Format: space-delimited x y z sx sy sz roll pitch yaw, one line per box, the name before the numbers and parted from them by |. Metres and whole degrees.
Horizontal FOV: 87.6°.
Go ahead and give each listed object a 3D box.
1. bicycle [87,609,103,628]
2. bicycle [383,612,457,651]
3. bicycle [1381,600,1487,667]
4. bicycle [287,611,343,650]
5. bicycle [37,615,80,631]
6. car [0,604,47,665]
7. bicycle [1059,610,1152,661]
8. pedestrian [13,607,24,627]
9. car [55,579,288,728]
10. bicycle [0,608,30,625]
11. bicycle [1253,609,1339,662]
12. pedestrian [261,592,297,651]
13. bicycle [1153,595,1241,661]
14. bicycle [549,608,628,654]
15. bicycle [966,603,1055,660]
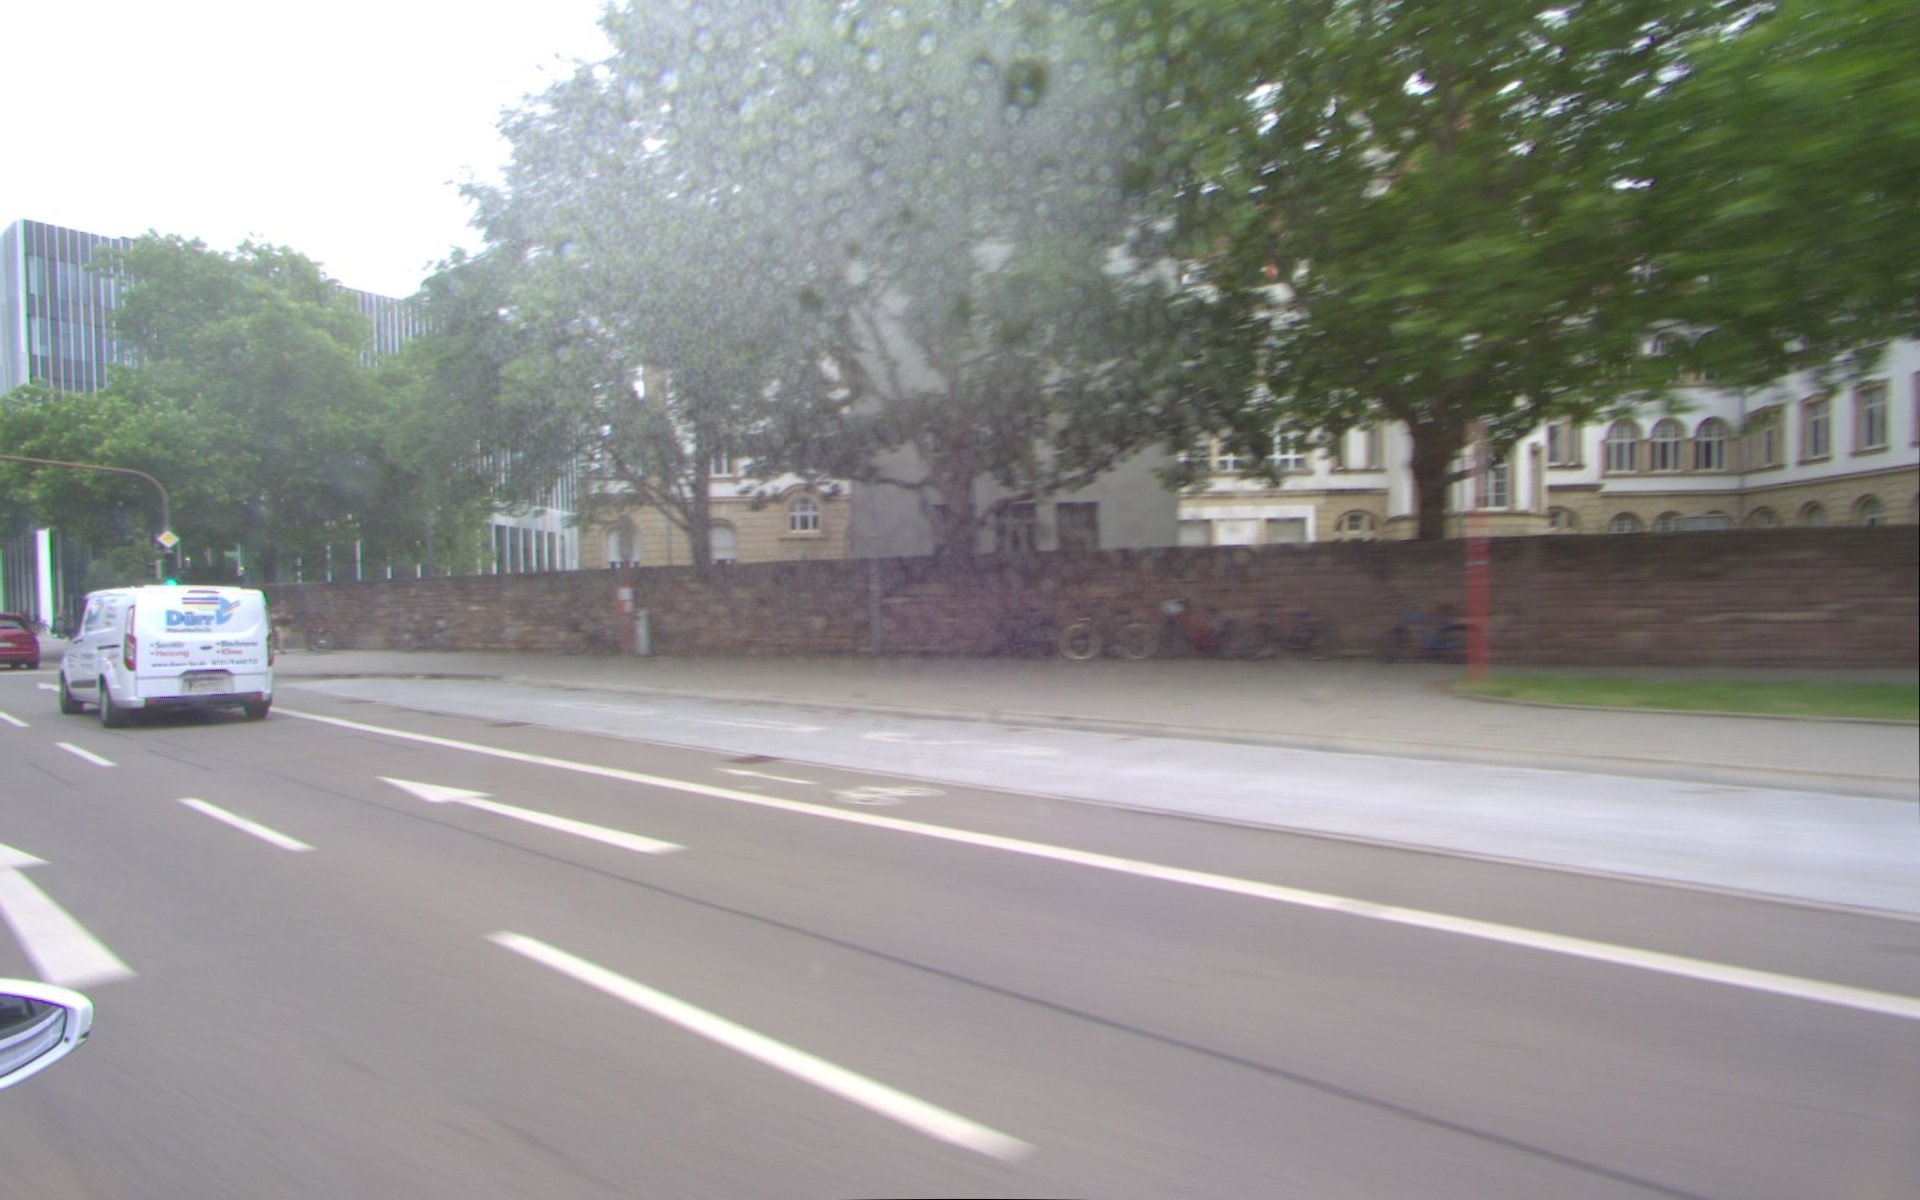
bicycle | -60.877 1.268 70.461 0.520 1.270 1.655 -3 2 -31
bicycle | -16.163 0.924 29.950 1.938 1.088 0.939 -1 2 25
bicycle | 8.312 0.576 17.609 1.626 1.119 0.597 -1 2 20
bicycle | -21.147 0.995 32.814 1.928 1.190 0.800 0 4 35
bicycle | -56.632 1.415 62.895 0.685 0.911 1.887 0 2 19
car | -27.449 0.937 28.406 3.706 1.645 1.939 0 0 42
bicycle | 2.910 0.707 20.043 1.740 0.964 0.653 -1 2 22
pedestrian | -66.349 1.165 70.575 0.468 1.380 0.441 -3 3 -40
car | -12.346 0.748 15.585 4.290 1.998 1.959 0 -1 39
bicycle | -72.635 1.261 76.933 0.559 1.228 1.777 -1 2 6
bicycle | 6.288 0.659 18.736 1.499 0.955 0.416 0 2 22
pedestrian | -21.869 0.670 32.148 1.020 1.847 0.628 1 3 40
bicycle | 4.599 0.532 19.430 1.599 1.238 0.499 0 2 22
bicycle | -9.815 0.816 26.469 1.892 1.143 0.847 -1 3 25
bicycle | 1.057 0.645 20.756 1.758 1.115 0.720 -1 2 11
